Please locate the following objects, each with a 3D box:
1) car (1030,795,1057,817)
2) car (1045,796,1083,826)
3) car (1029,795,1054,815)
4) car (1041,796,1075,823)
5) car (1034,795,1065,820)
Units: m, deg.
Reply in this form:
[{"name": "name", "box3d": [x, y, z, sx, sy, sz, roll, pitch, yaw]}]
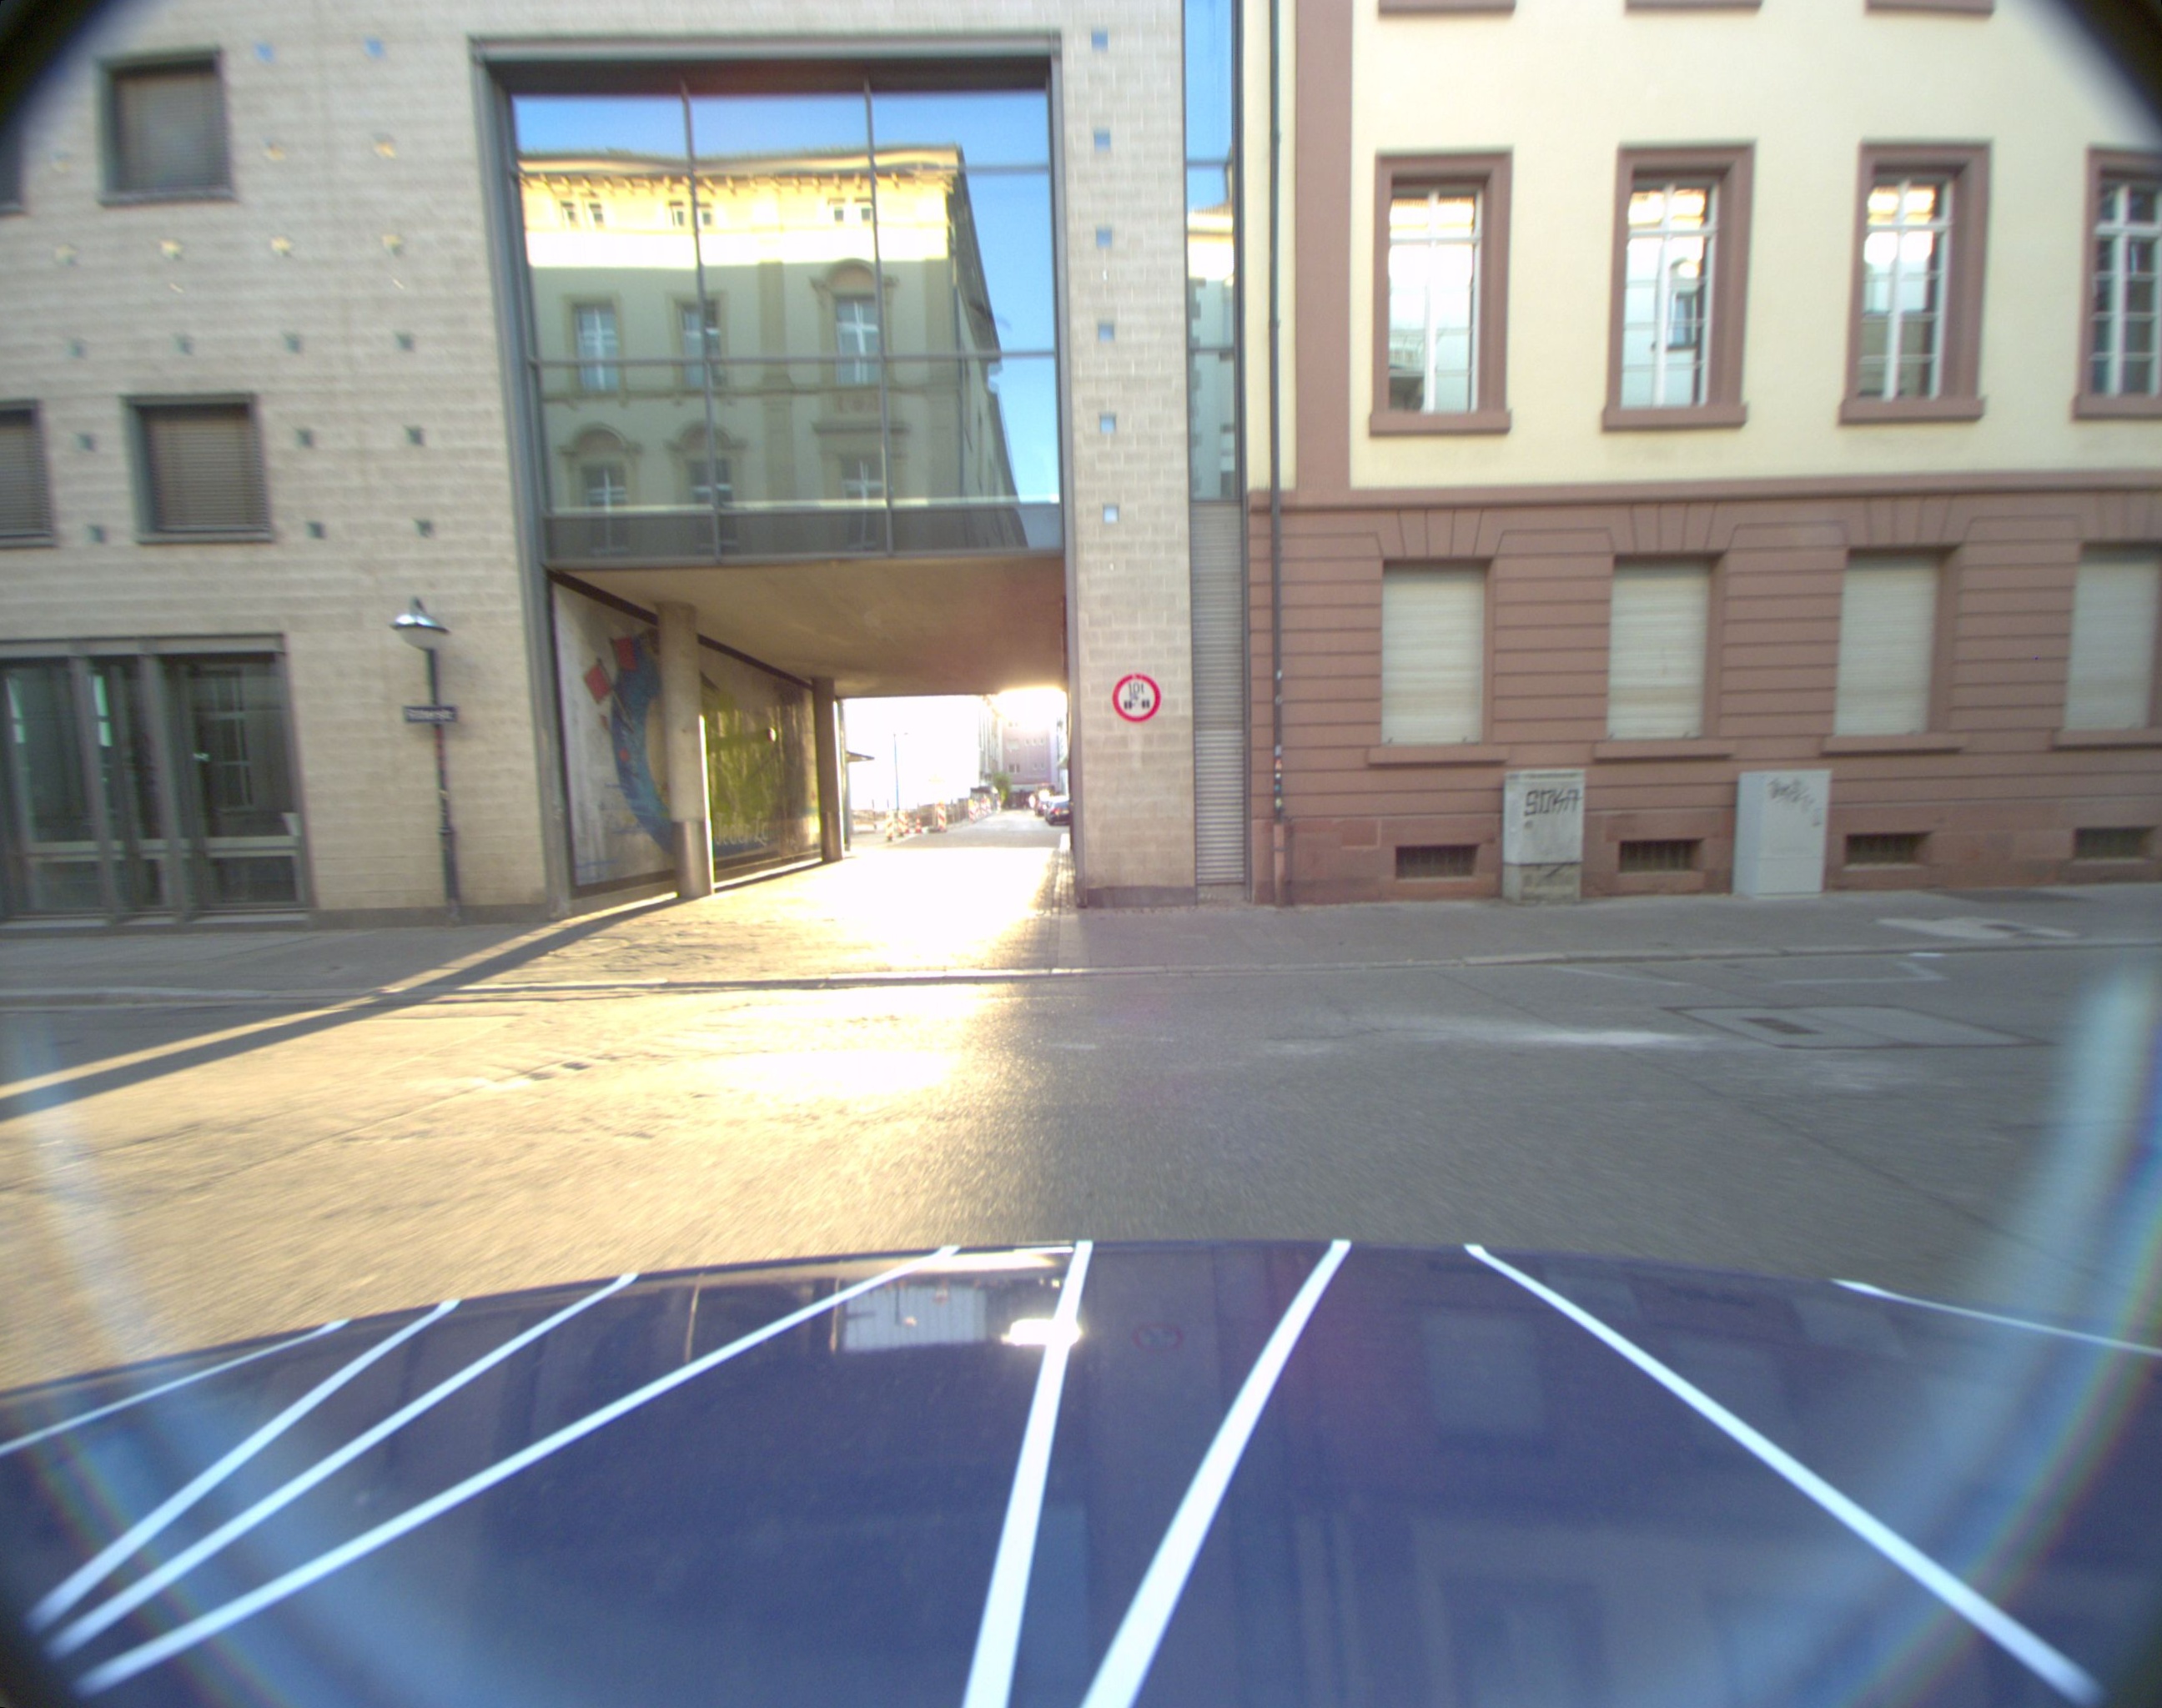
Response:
[{"name": "car", "box3d": [-2.731, -3.455, 54.359, 1.602, 1.485, 3.439, -2, 5, -8]}, {"name": "car", "box3d": [-0.932, -2.321, 40.595, 1.602, 1.485, 3.439, -2, 5, -8]}, {"name": "car", "box3d": [-3.077, -3.820, 59.298, 1.602, 1.485, 3.439, -2, 5, -8]}, {"name": "car", "box3d": [-1.377, -2.672, 44.727, 1.602, 1.485, 3.439, -2, 5, -8]}, {"name": "car", "box3d": [-2.019, -2.988, 48.534, 1.602, 1.485, 3.439, -2, 5, -8]}]
